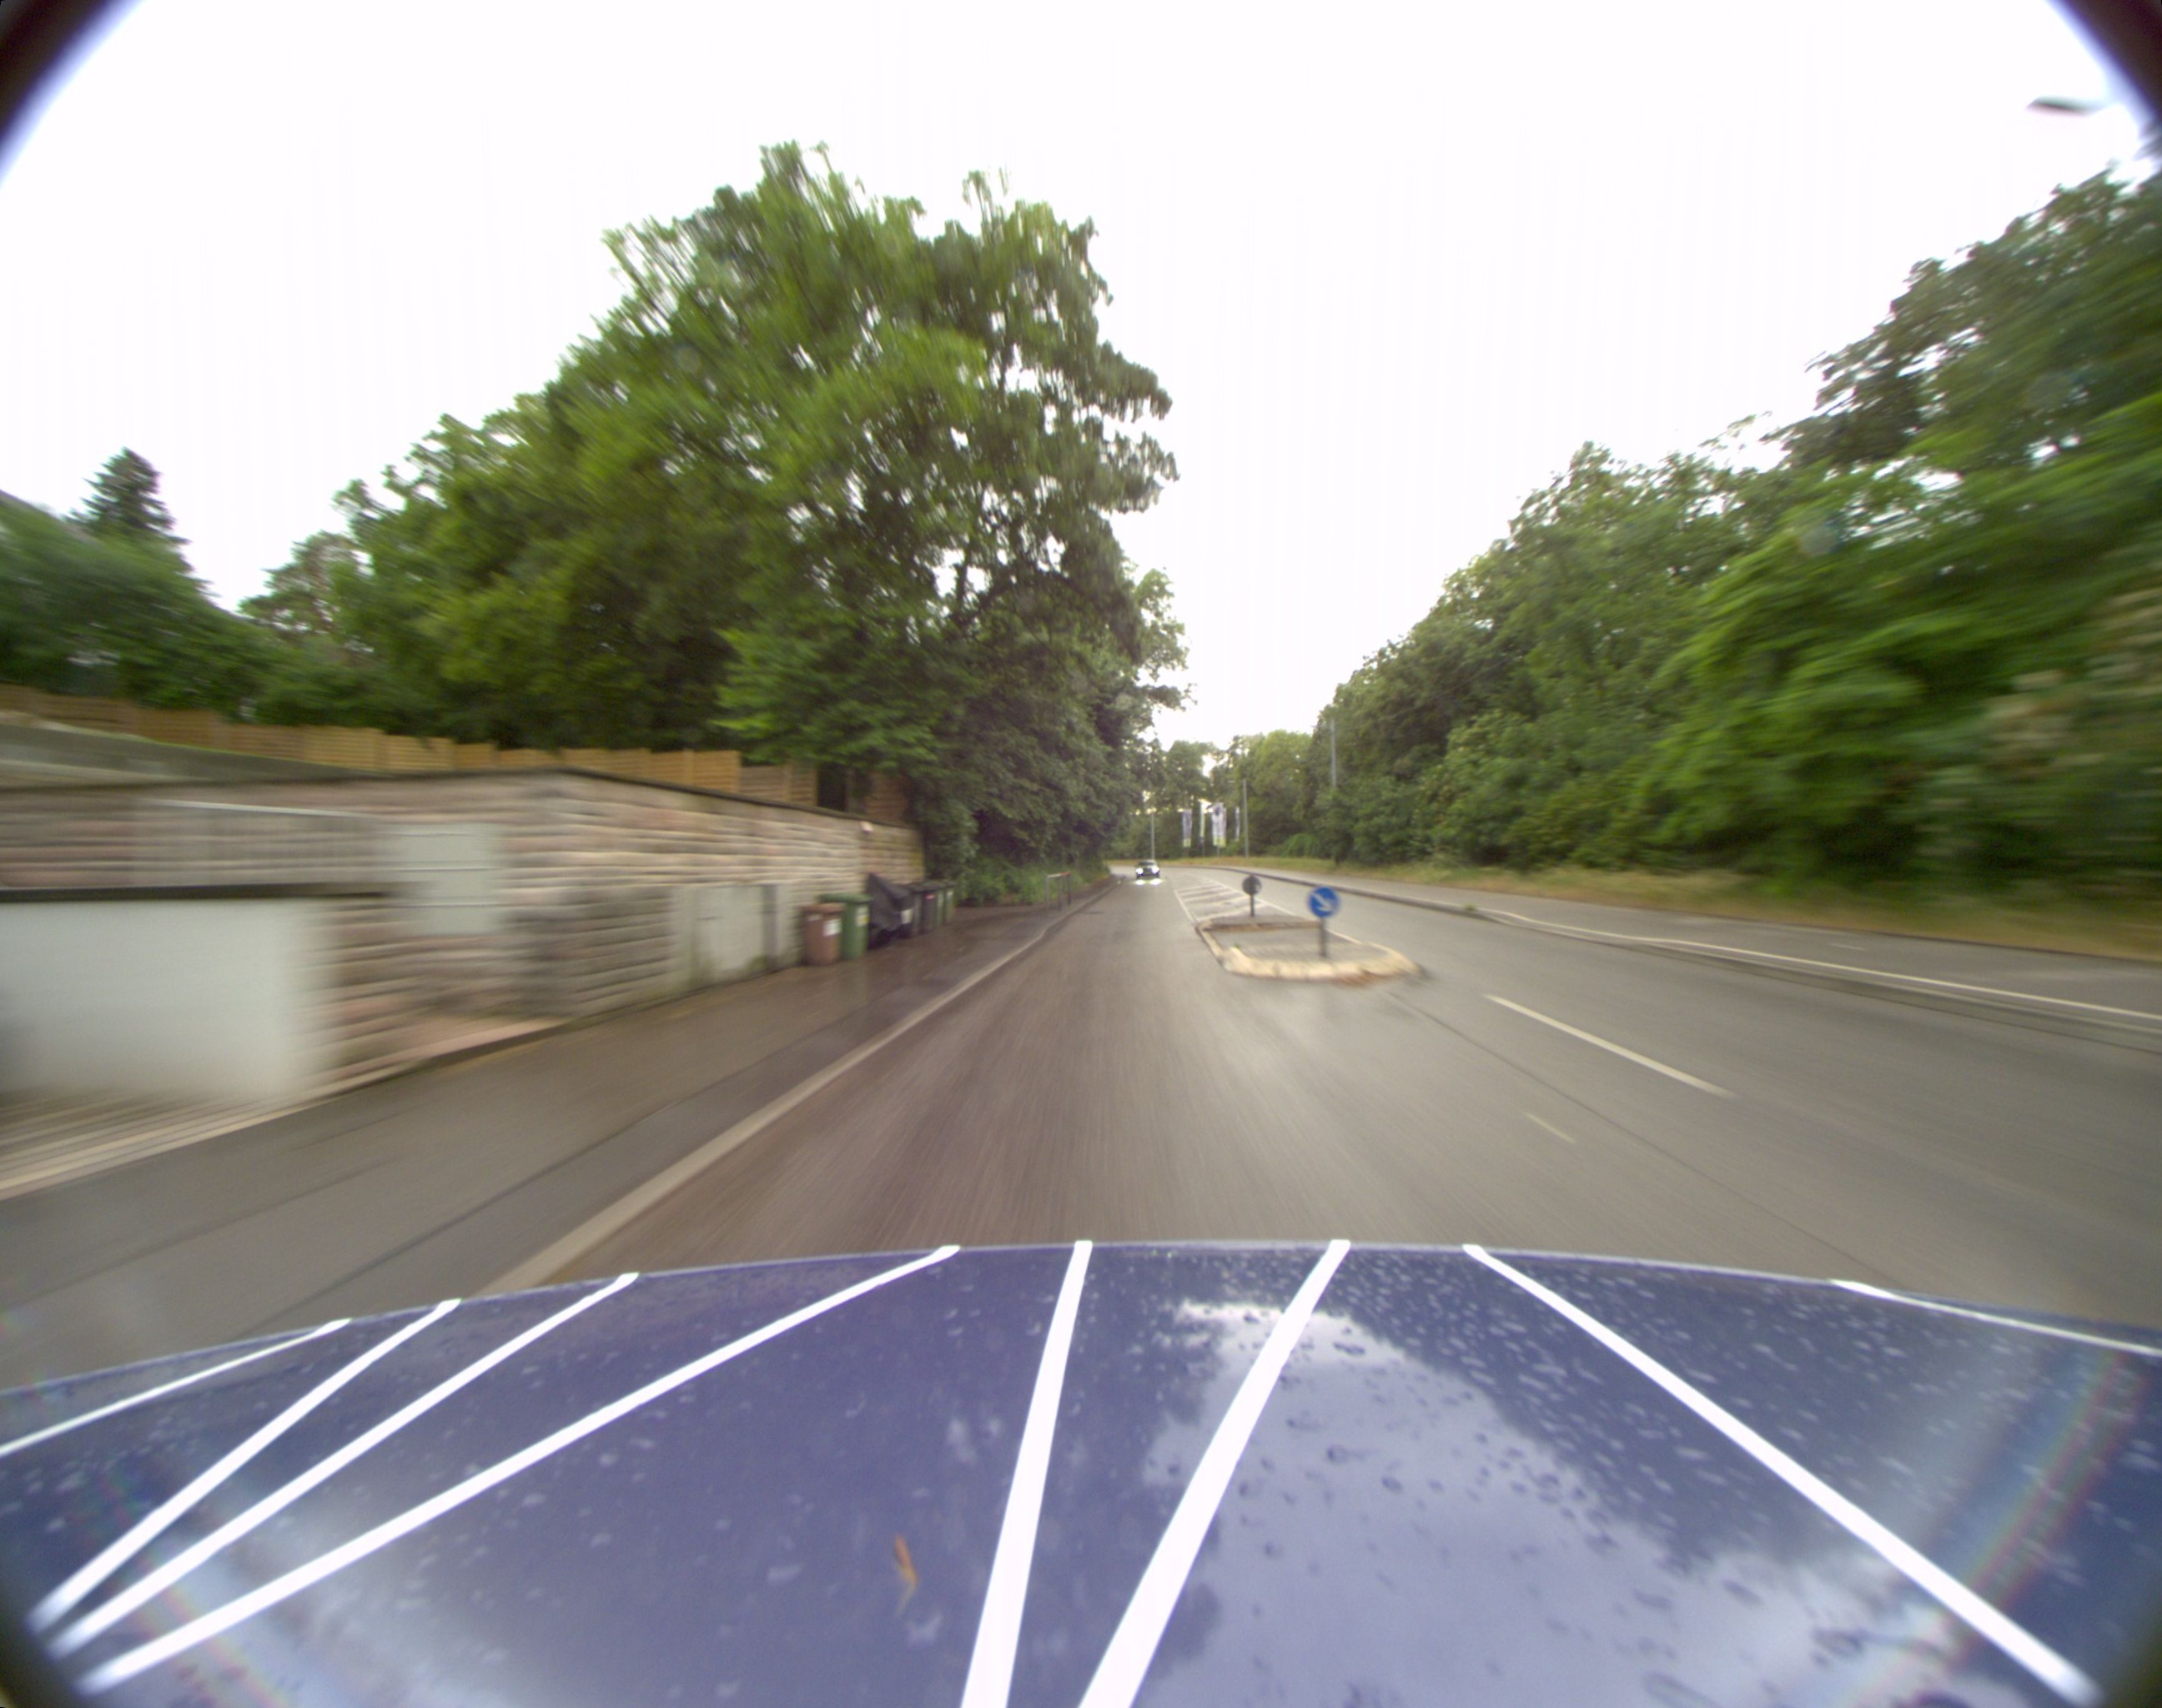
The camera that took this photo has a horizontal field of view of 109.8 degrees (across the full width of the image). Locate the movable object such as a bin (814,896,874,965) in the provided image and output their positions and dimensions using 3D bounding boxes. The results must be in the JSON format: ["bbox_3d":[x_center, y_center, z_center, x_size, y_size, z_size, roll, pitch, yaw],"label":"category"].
[{"bbox_3d":[-3.737,1.201,12.029,0.666,0.999,0.659,-2,1,6],"label":"movable object such as a bin"}]

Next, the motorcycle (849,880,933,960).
[{"bbox_3d":[-3.347,1.129,13.596,0.777,1.237,2.014,-2,0,6],"label":"motorcycle"}]

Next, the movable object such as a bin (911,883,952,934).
[{"bbox_3d":[-3.280,1.183,16.722,0.666,1.062,0.701,-2,1,6],"label":"movable object such as a bin"}]

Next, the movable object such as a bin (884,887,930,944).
[{"bbox_3d":[-3.466,1.217,15.174,0.666,1.062,0.659,-2,1,6],"label":"movable object such as a bin"}]

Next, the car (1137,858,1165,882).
[{"bbox_3d":[5.517,1.229,59.363,1.997,1.714,4.002,-4,0,7],"label":"car"}]

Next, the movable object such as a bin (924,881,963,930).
[{"bbox_3d":[-3.168,1.178,17.537,0.666,1.062,0.701,-2,1,6],"label":"movable object such as a bin"}]

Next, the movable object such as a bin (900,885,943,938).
[{"bbox_3d":[-3.344,1.198,15.979,0.666,1.062,0.659,-2,1,6],"label":"movable object such as a bin"}]

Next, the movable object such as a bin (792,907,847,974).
[{"bbox_3d":[-3.878,1.278,11.299,0.570,0.931,0.549,-2,1,6],"label":"movable object such as a bin"}]

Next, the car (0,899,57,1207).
[{"bbox_3d":[-7.476,0.969,3.164,4.226,1.498,1.896,0,0,5],"label":"car"}]
